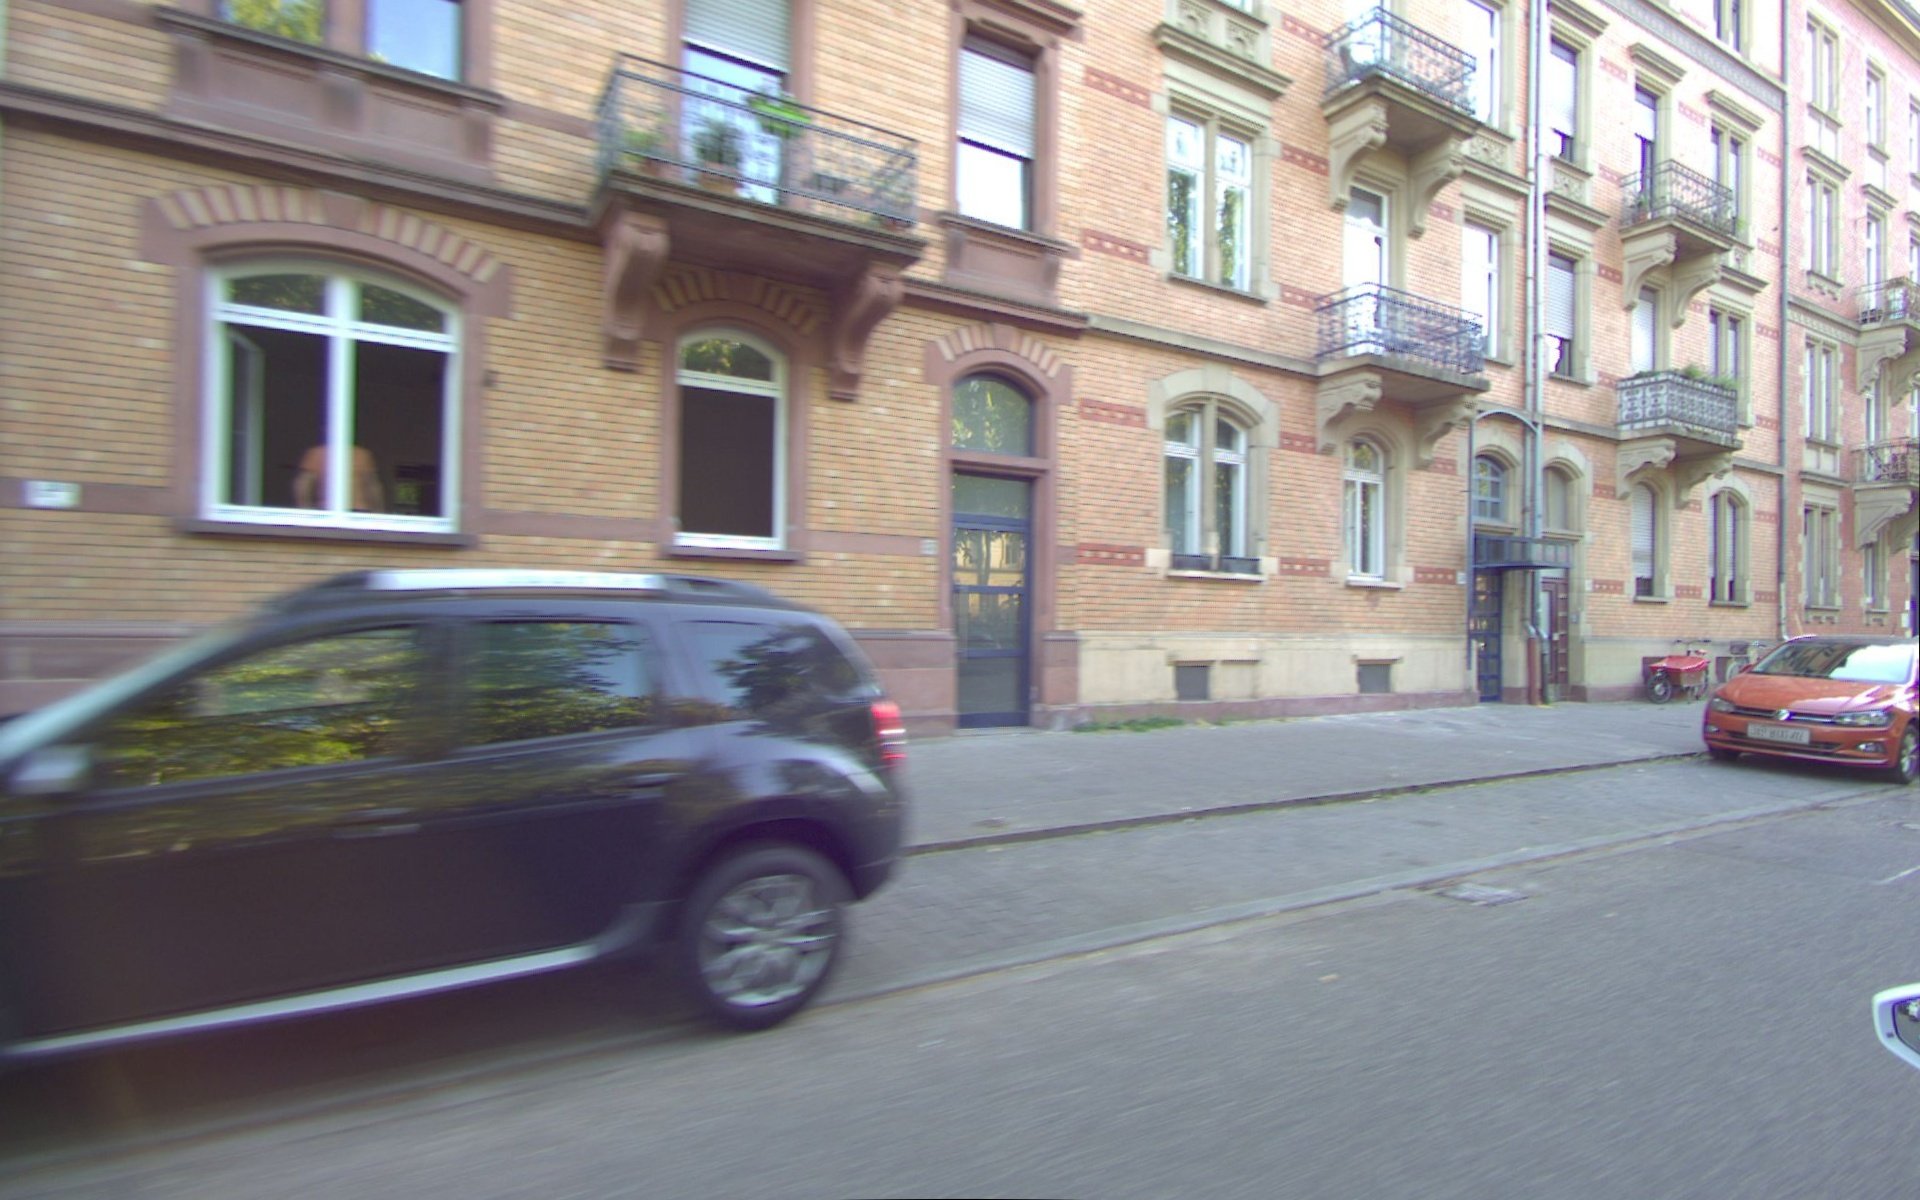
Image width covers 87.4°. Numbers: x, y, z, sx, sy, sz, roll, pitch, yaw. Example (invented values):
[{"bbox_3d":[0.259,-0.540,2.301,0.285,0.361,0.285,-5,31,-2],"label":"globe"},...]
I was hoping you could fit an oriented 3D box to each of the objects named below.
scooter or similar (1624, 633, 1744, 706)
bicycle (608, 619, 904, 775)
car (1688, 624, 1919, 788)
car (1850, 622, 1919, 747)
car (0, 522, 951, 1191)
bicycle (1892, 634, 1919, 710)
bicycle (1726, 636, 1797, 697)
[{"bbox_3d":[13.309,1.289,18.440,2.674,1.238,0.779,3,-1,-31],"label":"scooter or similar"},{"bbox_3d":[-1.775,0.793,8.953,2.484,1.223,0.733,1,0,-30],"label":"bicycle"},{"bbox_3d":[10.215,1.078,11.466,3.957,1.483,1.743,1,1,-33],"label":"car"},{"bbox_3d":[13.928,1.144,13.815,4.113,1.567,1.734,2,0,-37],"label":"car"},{"bbox_3d":[-2.262,0.679,3.749,4.153,1.728,1.743,1,0,-31],"label":"car"},{"bbox_3d":[16.321,1.203,16.048,2.066,1.231,0.439,2,-1,45],"label":"bicycle"},{"bbox_3d":[15.943,1.328,19.970,1.747,1.145,0.425,3,-1,-28],"label":"bicycle"}]
